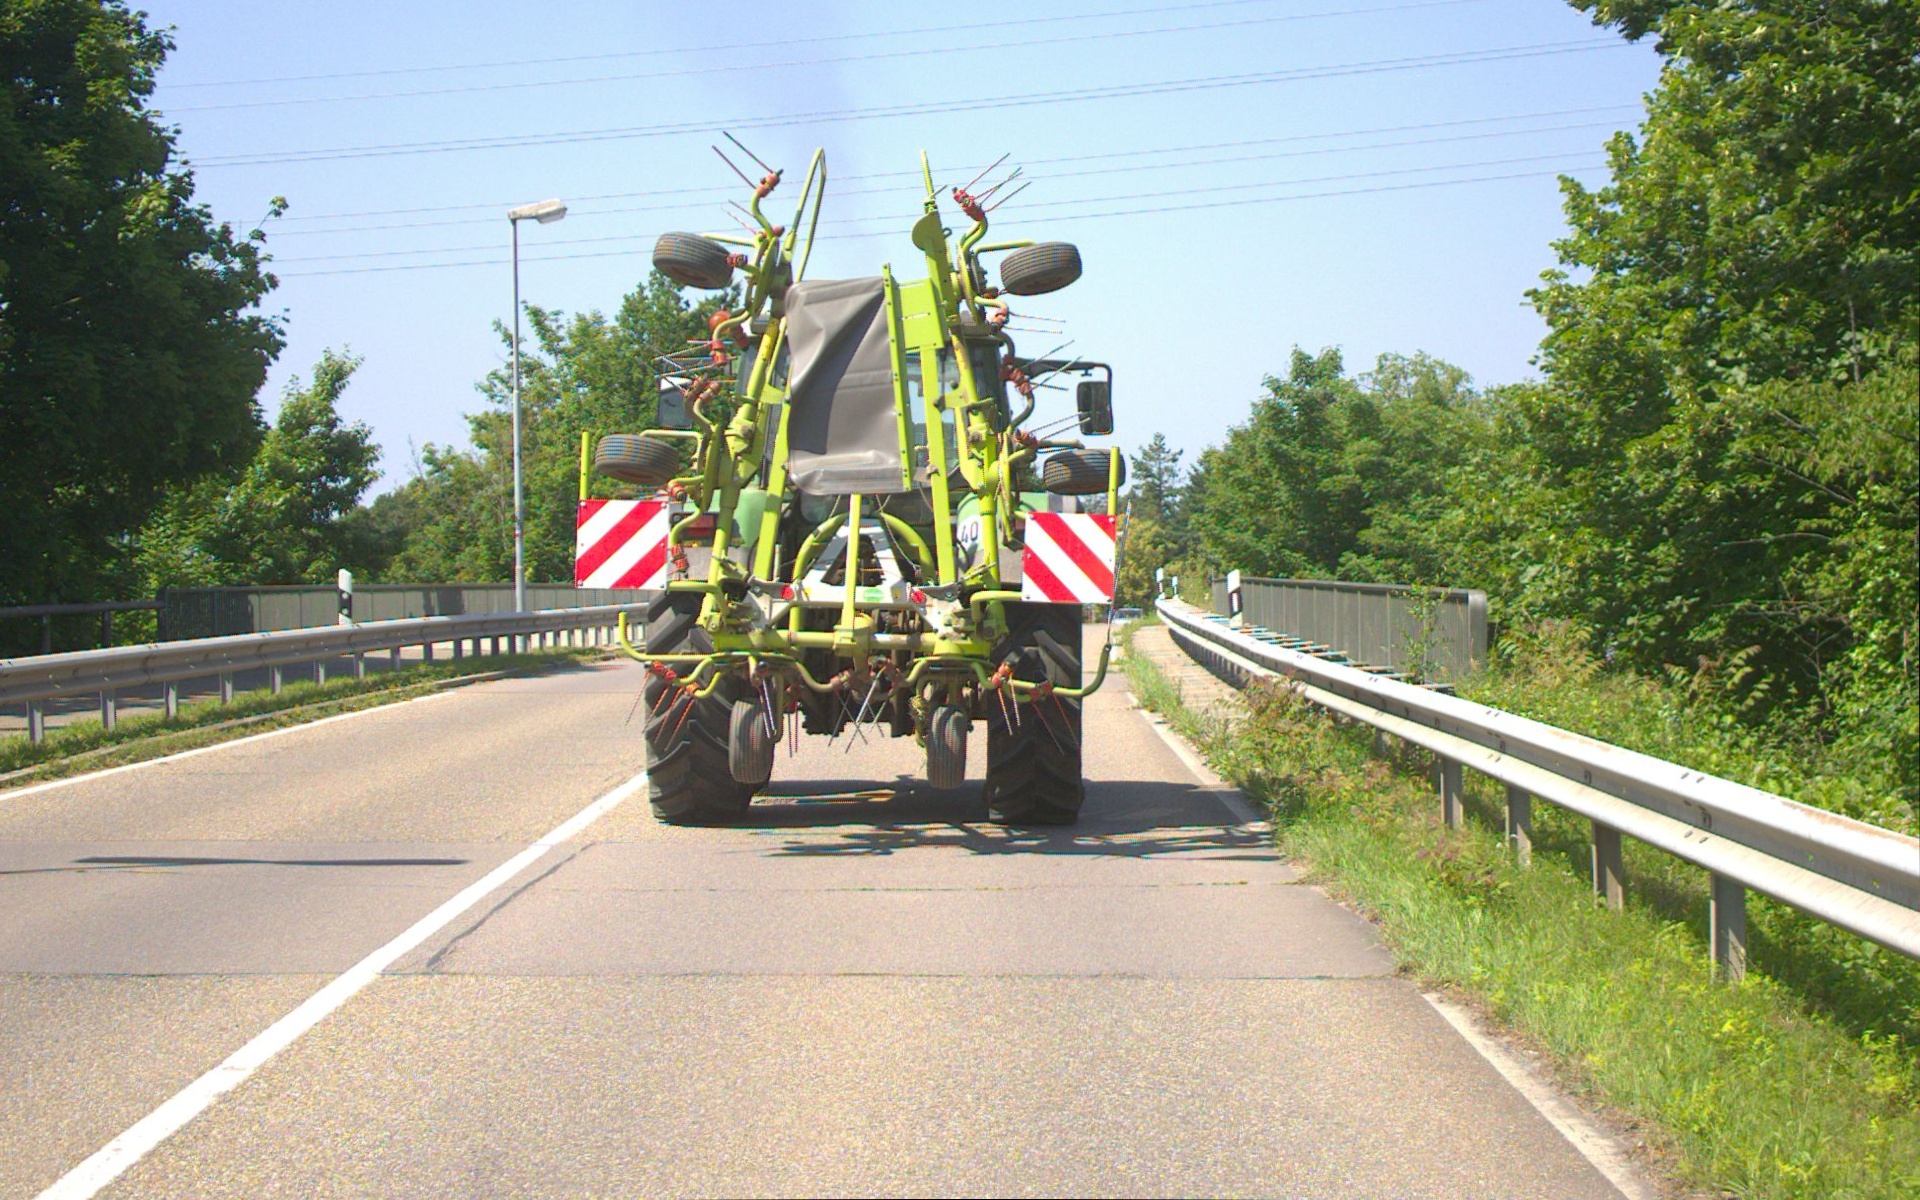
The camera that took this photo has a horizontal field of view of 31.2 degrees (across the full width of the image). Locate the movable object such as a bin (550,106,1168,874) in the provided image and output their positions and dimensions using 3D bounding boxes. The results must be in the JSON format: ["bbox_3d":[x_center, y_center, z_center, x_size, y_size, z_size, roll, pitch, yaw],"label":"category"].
[{"bbox_3d":[-0.510,-0.545,18.224,2.755,3.432,5.670,0,1,-1],"label":"movable object such as a bin"}]
